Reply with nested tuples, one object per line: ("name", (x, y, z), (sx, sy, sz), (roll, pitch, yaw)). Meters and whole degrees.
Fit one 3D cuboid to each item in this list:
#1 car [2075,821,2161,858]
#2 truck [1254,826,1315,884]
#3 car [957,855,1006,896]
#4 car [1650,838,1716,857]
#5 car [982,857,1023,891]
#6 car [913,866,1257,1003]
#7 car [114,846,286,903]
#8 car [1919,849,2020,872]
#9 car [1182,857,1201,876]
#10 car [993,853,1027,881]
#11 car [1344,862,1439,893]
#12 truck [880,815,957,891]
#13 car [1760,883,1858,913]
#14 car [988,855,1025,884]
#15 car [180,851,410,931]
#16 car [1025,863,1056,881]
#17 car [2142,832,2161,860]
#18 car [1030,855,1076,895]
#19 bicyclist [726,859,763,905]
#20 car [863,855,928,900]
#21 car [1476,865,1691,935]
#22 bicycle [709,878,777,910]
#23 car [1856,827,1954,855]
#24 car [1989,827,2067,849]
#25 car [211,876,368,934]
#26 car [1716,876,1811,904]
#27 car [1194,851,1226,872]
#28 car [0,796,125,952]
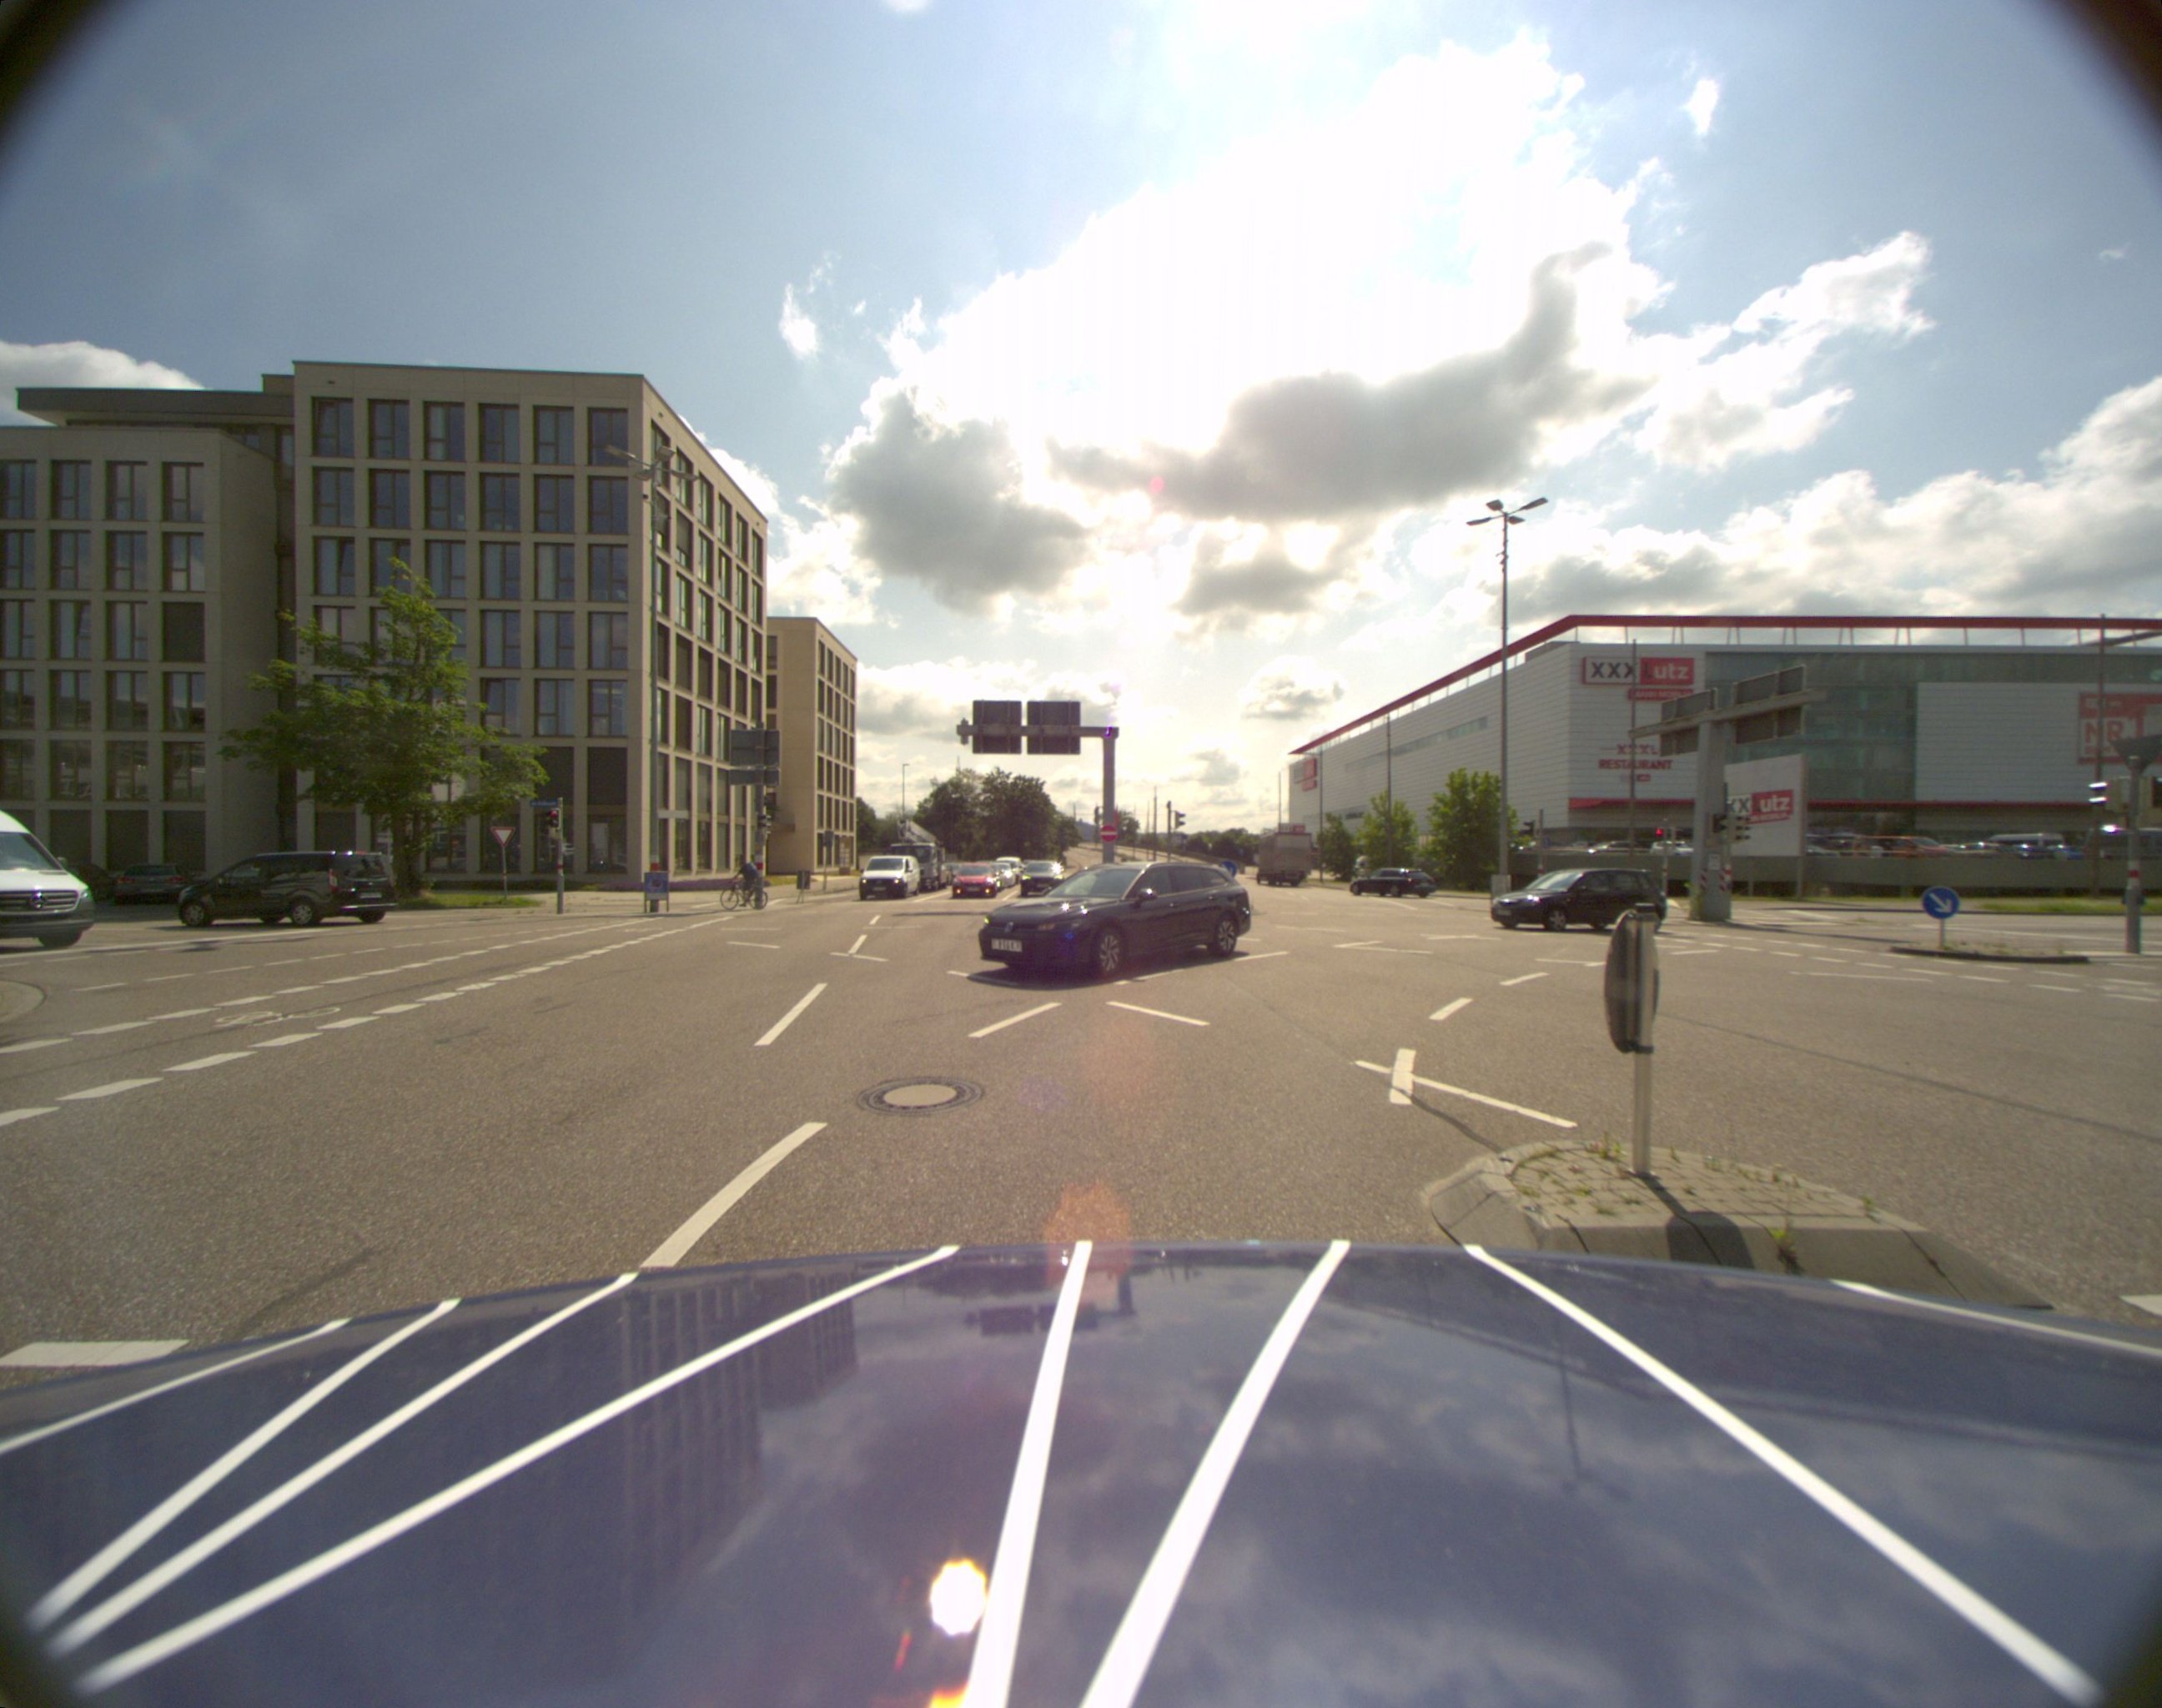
("car", (69.483, -0.936, 49.489), (1.748, 2.269, 5.800), (-1, -1, -1))
("truck", (15.295, 0.150, 57.715), (3.218, 4.002, 9.078), (-1, -1, 7))
("car", (-4.160, 0.919, 32.423), (1.827, 1.617, 4.211), (-1, -1, -4))
("car", (50.391, -0.507, 63.695), (1.953, 1.462, 4.423), (0, -1, -1))
("car", (-4.004, 1.031, 39.110), (1.827, 1.617, 4.212), (-1, -1, -3))
("car", (0.345, 0.916, 10.769), (1.809, 1.469, 5.215), (-1, -1, 43))
("car", (-33.051, 0.768, 28.709), (1.999, 2.001, 3.999), (-1, -1, -5))
("car", (62.678, 0.469, 53.724), (1.953, 1.596, 4.424), (0, -1, 1))
("car", (11.447, 1.341, 78.747), (1.862, 1.644, 4.225), (0, -5, 8))
("car", (-4.758, 0.910, 51.514), (1.826, 1.826, 4.447), (-1, -1, 1))
("car", (15.717, 1.156, 38.736), (1.781, 1.469, 4.671), (0, -1, -21))
("truck", (-8.507, 0.072, 40.895), (2.674, 3.533, 9.782), (-1, -1, -4))
("car", (43.531, 2.614, 45.478), (3.997, 1.739, 2.000), (0, -1, -1))
("car", (-4.384, 0.944, 45.201), (1.827, 1.617, 4.212), (-1, -1, 0))
("car", (-19.637, 0.895, 19.094), (3.996, 1.893, 1.830), (0, 0, 3))
("car", (-4.033, 1.817, 76.700), (1.825, 1.826, 4.451), (-1, -1, 14))
("car", (72.446, -0.582, 49.254), (1.748, 1.783, 4.002), (-1, -1, 3))
("car", (-1.269, 0.897, 33.094), (1.827, 1.617, 4.211), (-1, -1, -4))
("bicyclist", (-10.985, 0.921, 24.822), (0.914, 1.468, 0.639), (-1, -1, 5))
("car", (-8.053, 1.017, 33.432), (1.999, 1.826, 4.992), (-1, -1, -4))
("car", (12.022, 1.056, 18.289), (4.268, 1.521, 1.607), (0, 0, -6))
("bicycle", (-11.028, 1.313, 24.822), (1.975, 1.005, 0.650), (-1, -1, 6))
("car", (57.227, -0.892, 52.868), (1.917, 1.739, 4.185), (-1, -1, -11))
("car", (83.415, -1.361, 67.030), (1.915, 1.739, 4.001), (-1, -1, 1))
("car", (-29.941, 1.857, 28.945), (1.999, 2.001, 3.999), (-1, -1, -5))
("car", (43.830, 2.306, 48.840), (4.361, 1.739, 2.000), (0, -1, -1))
("car", (10.702, 0.660, 63.241), (1.864, 1.645, 4.219), (-1, -1, 0))
("car", (-21.295, 0.401, 13.357), (6.855, 2.591, 2.141), (-1, -1, 5))
